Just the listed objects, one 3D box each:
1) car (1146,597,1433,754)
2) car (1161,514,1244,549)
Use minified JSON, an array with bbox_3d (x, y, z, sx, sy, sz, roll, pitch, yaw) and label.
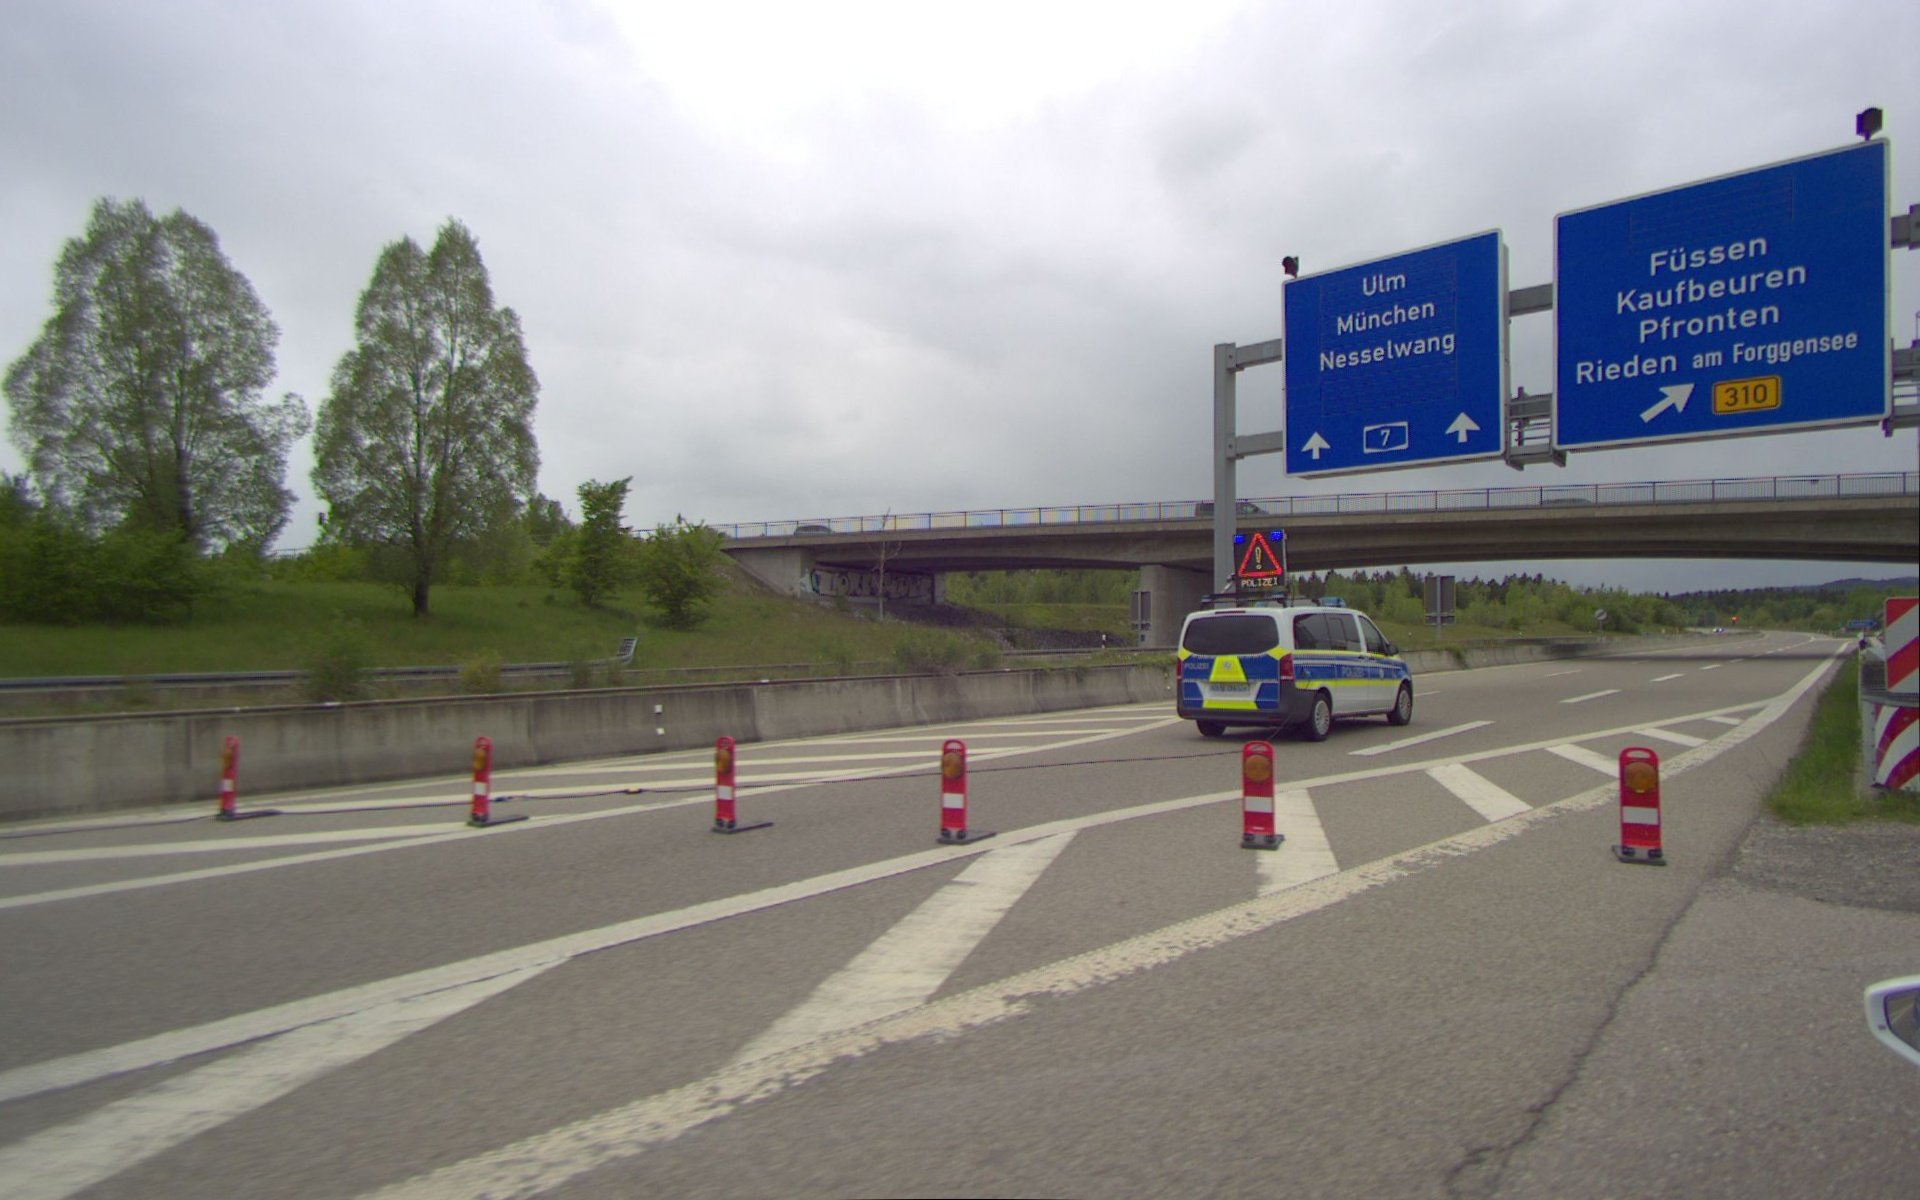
[{"bbox_3d":[5.276,1.116,15.666,2.263,2.040,5.019,-4,-4,44],"label":"car"},{"bbox_3d":[15.360,-4.292,63.634,4.843,1.669,2.000,-3,-3,20],"label":"car"}]
